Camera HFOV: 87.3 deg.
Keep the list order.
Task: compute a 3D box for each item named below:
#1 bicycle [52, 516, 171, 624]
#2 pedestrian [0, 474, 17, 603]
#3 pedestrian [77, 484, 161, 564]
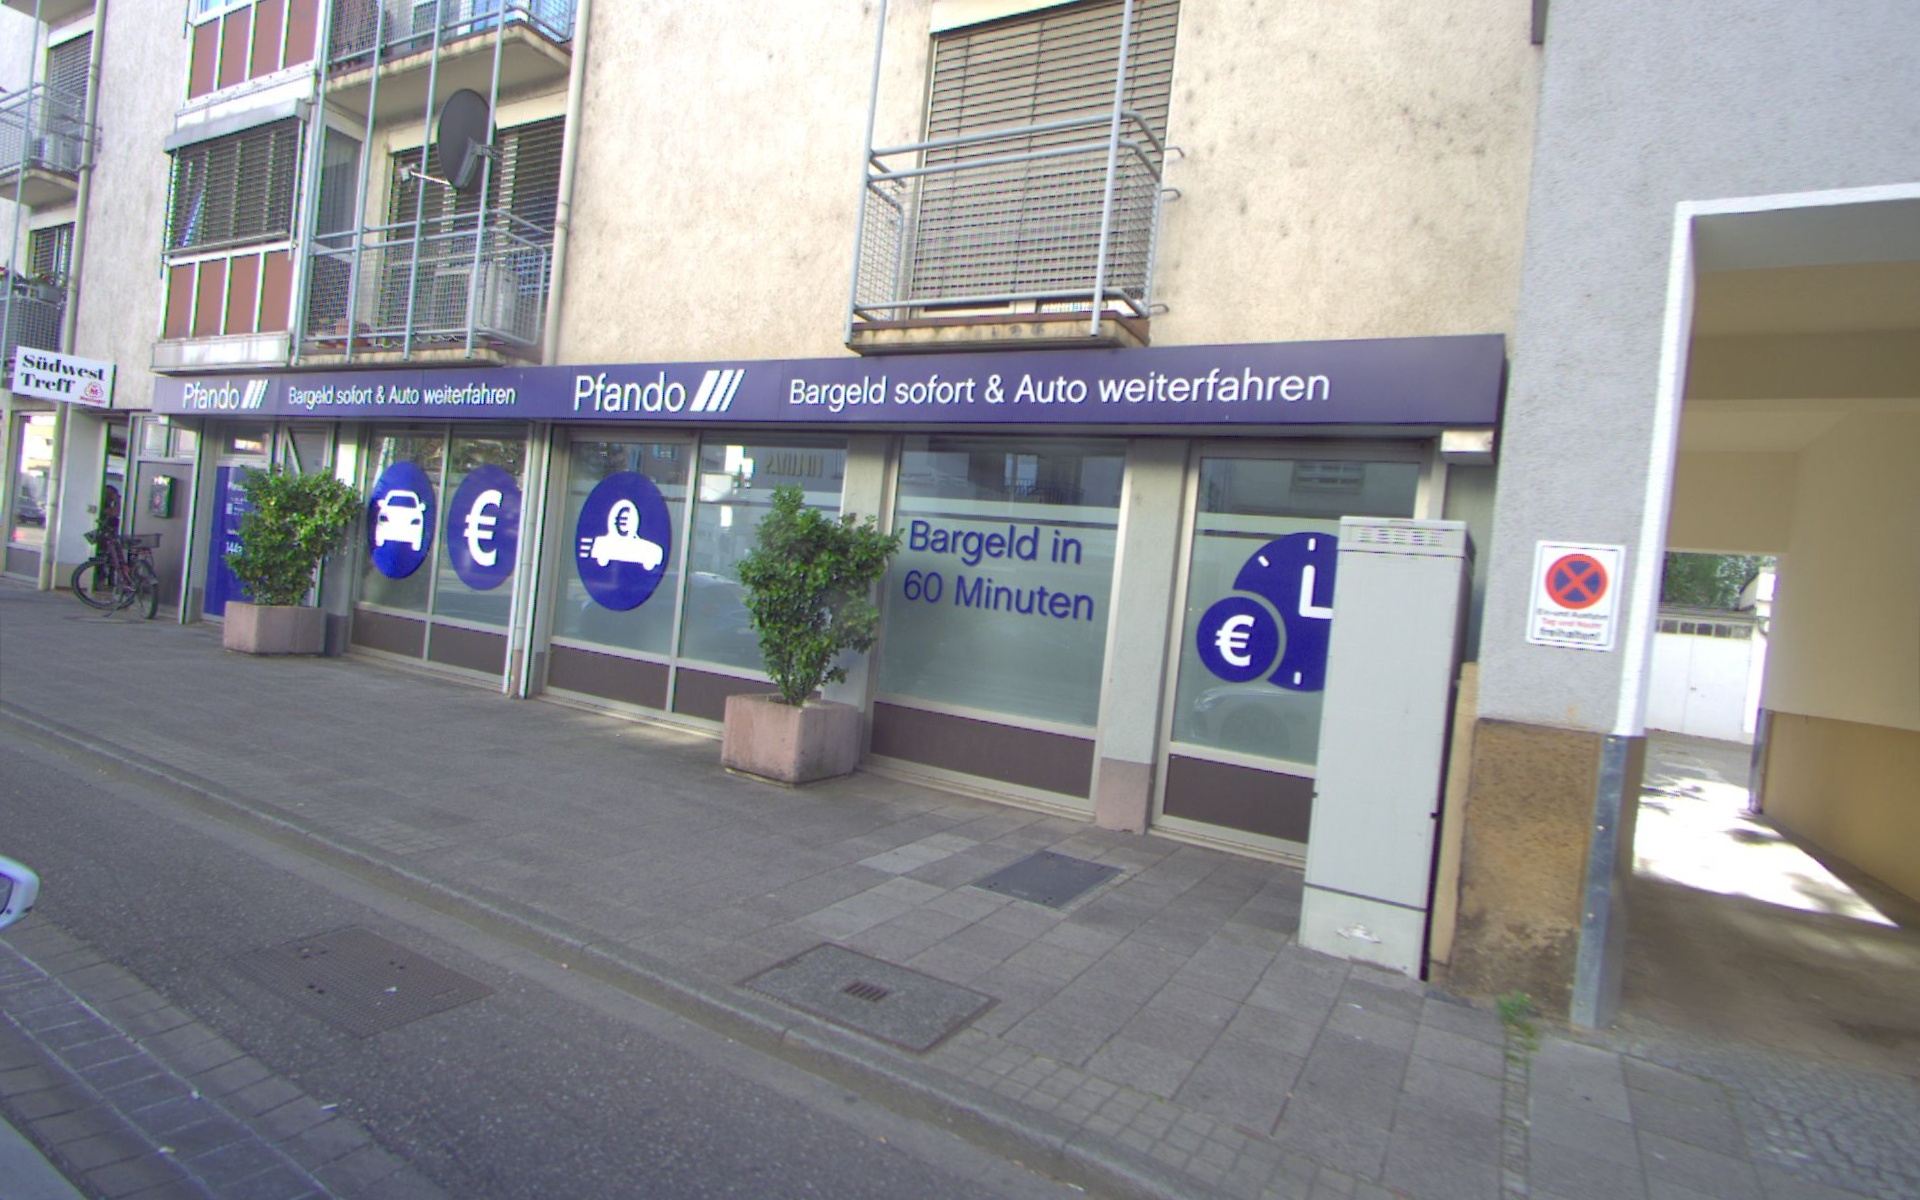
[{"bbox_3d":[-10.513,-0.384,12.448,1.747,1.176,0.497,6,0,30],"label":"bicycle"},{"bbox_3d":[-12.482,-0.814,12.472,0.796,1.614,0.885,7,3,25],"label":"pedestrian"},{"bbox_3d":[-12.768,-1.143,15.285,0.667,1.102,0.624,6,1,-4],"label":"pedestrian"}]
